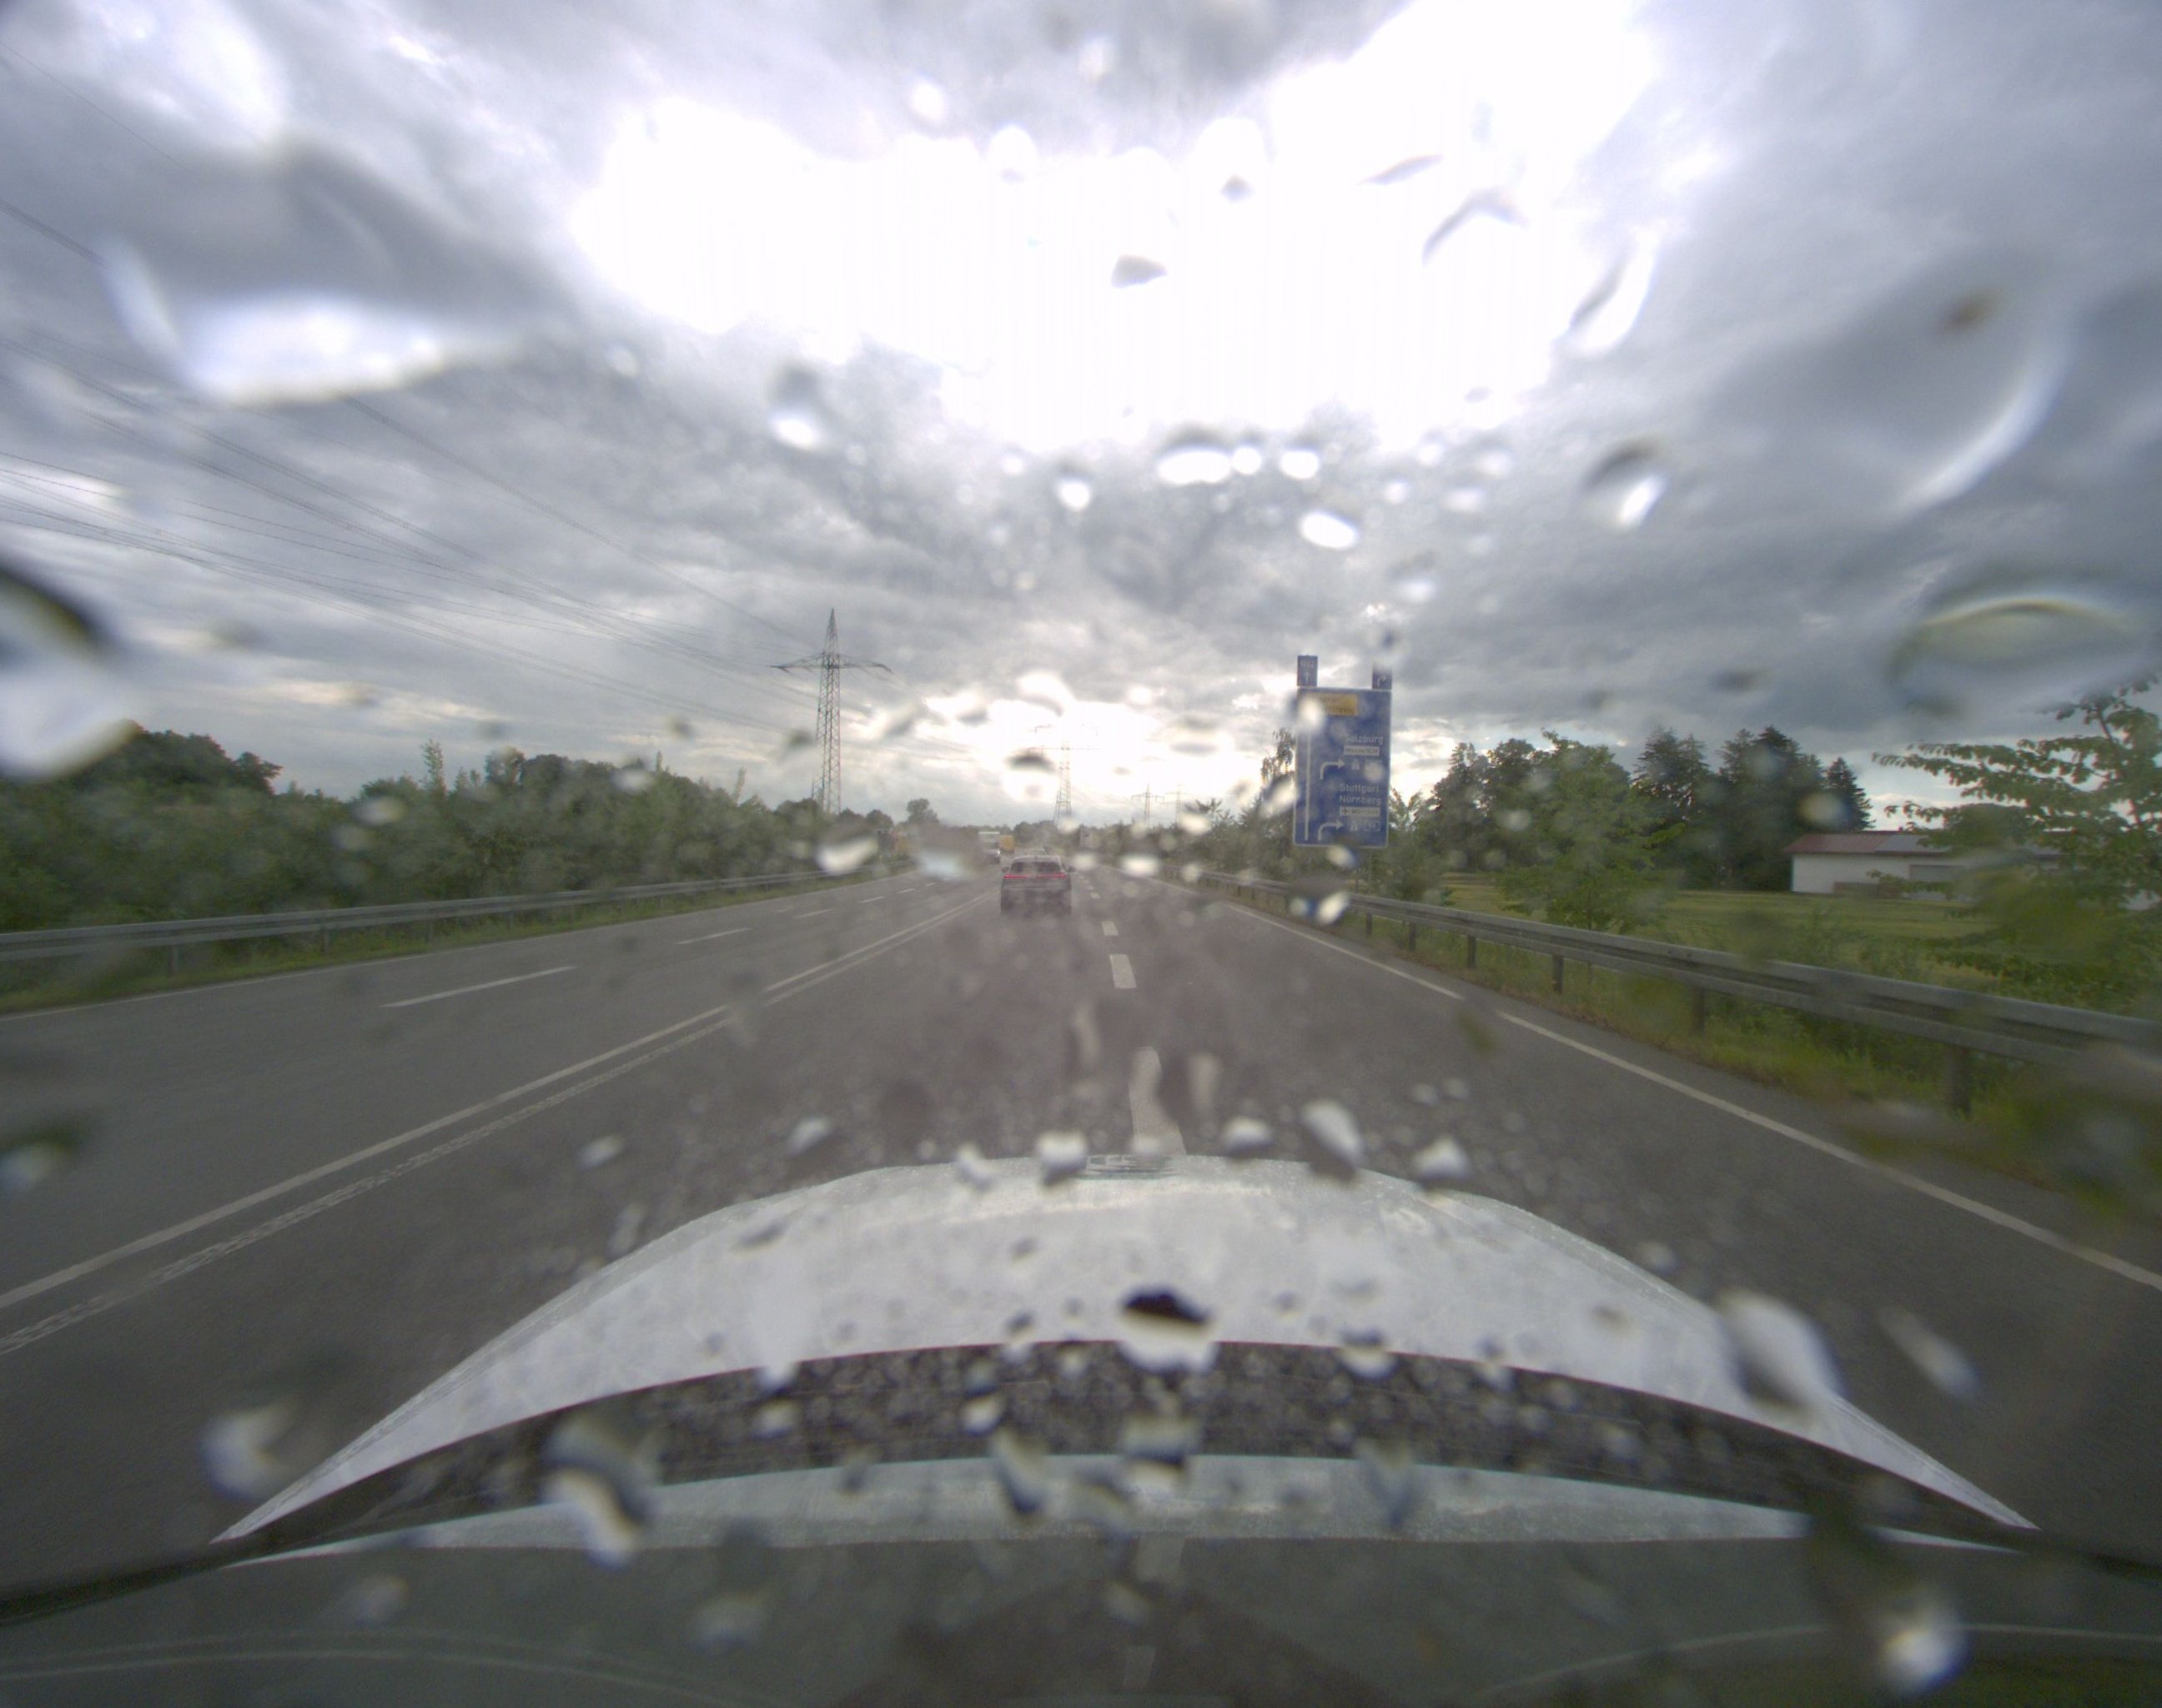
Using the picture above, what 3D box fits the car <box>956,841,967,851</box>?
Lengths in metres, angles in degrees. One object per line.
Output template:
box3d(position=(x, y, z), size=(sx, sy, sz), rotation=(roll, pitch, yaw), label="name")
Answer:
box3d(position=(-20.998, -1.388, 143.488), size=(1.798, 1.574, 4.250), rotation=(-1, 0, -7), label="car")

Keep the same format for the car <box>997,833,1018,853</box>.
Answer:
box3d(position=(-10.706, -1.517, 118.067), size=(2.573, 2.725, 7.173), rotation=(-1, 0, -9), label="car")

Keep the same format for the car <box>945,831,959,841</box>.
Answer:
box3d(position=(-29.855, -4.022, 187.918), size=(2.606, 2.250, 5.508), rotation=(0, 1, -14), label="car")

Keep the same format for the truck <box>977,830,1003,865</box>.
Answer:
box3d(position=(-8.859, -0.618, 79.787), size=(2.252, 3.155, 6.678), rotation=(-1, 0, -5), label="truck")

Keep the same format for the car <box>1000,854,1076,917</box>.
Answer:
box3d(position=(-1.090, 0.761, 21.549), size=(1.787, 1.441, 3.997), rotation=(-1, 0, -2), label="car")

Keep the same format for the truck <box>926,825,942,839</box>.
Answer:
box3d(position=(-37.984, -5.706, 209.802), size=(3.055, 3.384, 7.596), rotation=(0, 1, -19), label="truck")

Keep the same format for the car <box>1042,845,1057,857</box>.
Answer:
box3d(position=(-3.989, -0.346, 102.444), size=(1.789, 1.541, 3.992), rotation=(0, 0, -5), label="car")

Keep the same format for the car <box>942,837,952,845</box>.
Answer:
box3d(position=(-27.701, -2.736, 168.109), size=(1.800, 1.574, 4.244), rotation=(-1, 0, -11), label="car")

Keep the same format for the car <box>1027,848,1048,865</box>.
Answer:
box3d(position=(-3.796, 0.235, 70.627), size=(1.788, 1.441, 3.994), rotation=(-1, 0, -4), label="car")
